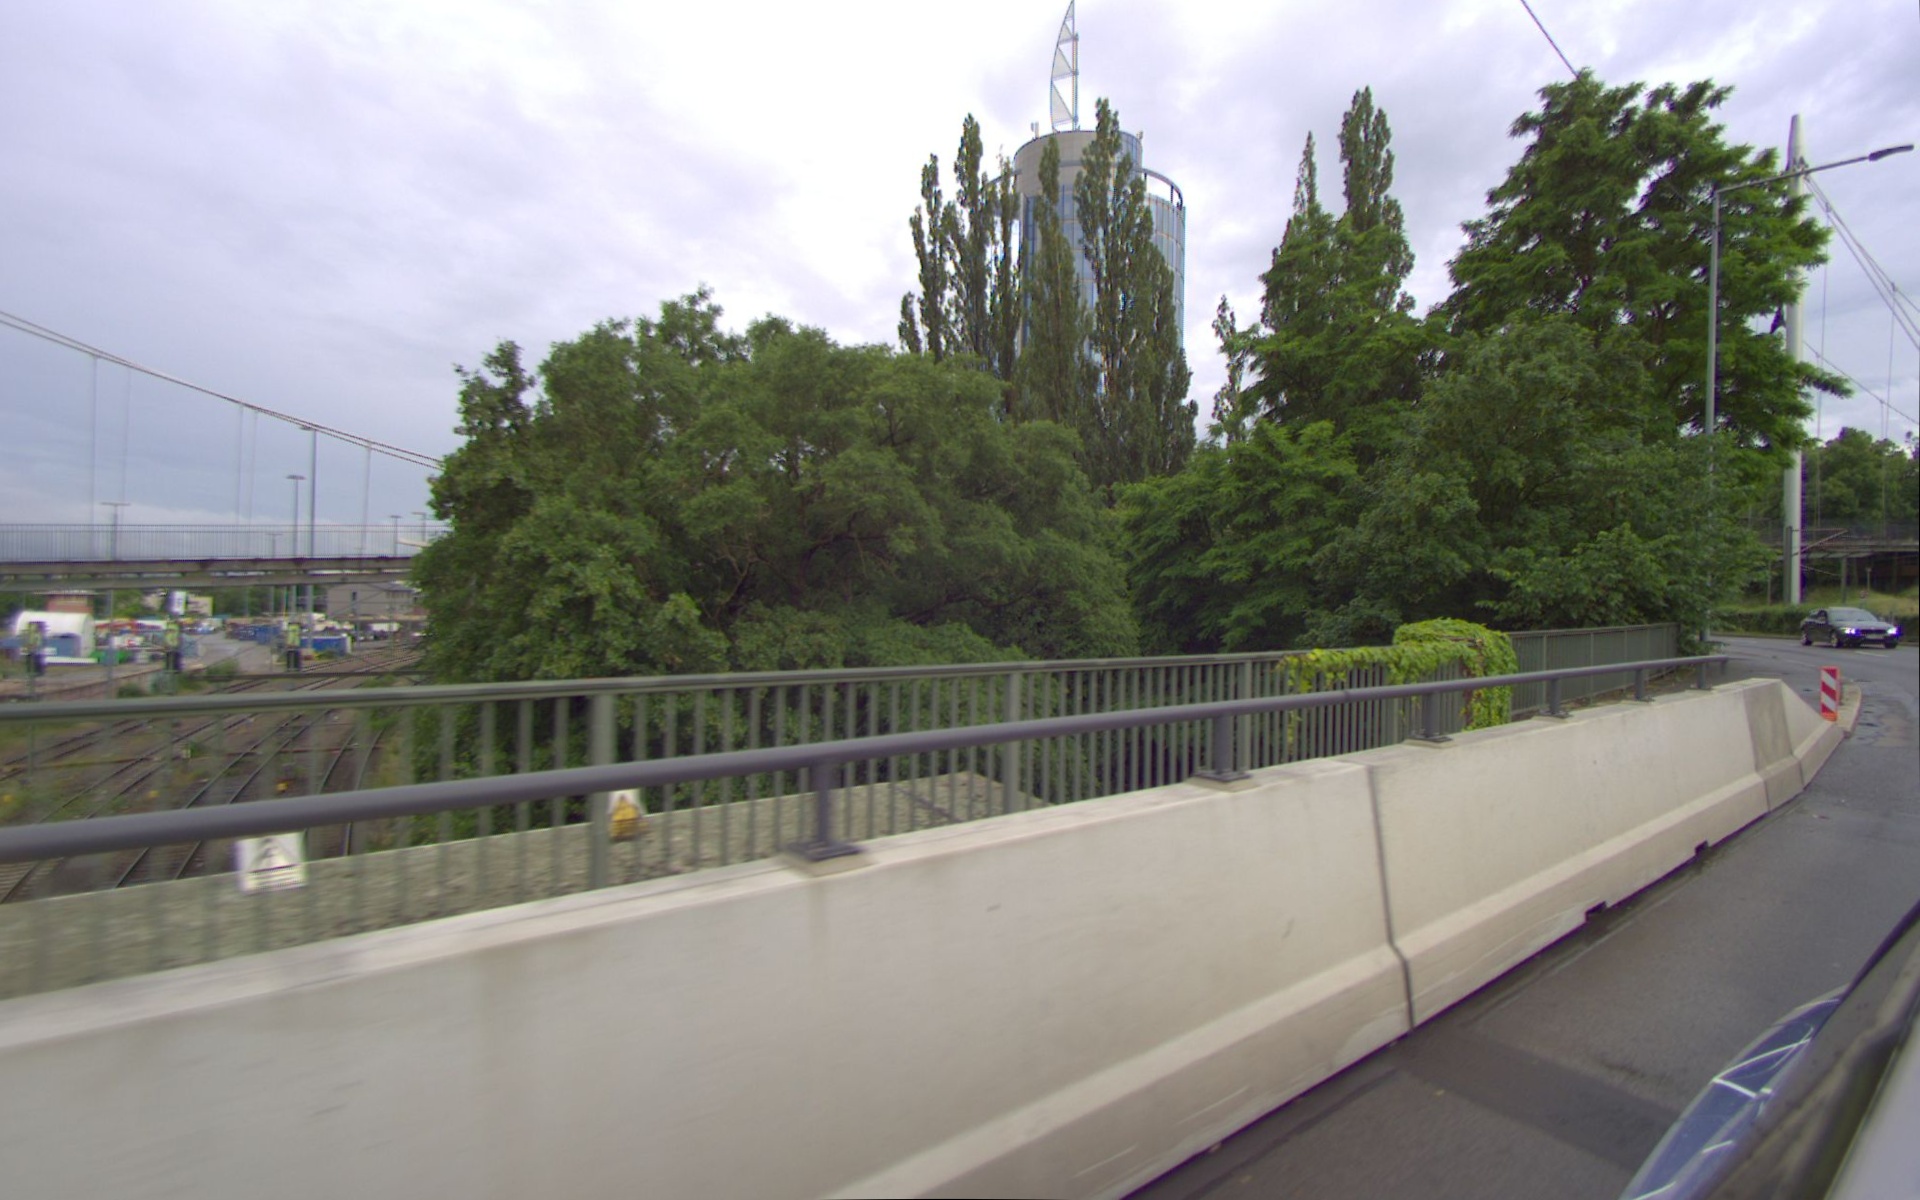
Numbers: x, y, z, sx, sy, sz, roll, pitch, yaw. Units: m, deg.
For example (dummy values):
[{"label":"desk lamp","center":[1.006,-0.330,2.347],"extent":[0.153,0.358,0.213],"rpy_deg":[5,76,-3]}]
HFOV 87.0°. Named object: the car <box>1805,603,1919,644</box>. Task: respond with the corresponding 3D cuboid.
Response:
[{"label":"car","center":[32.577,0.804,36.656],"extent":[1.715,1.369,3.975],"rpy_deg":[0,0,19]}]
